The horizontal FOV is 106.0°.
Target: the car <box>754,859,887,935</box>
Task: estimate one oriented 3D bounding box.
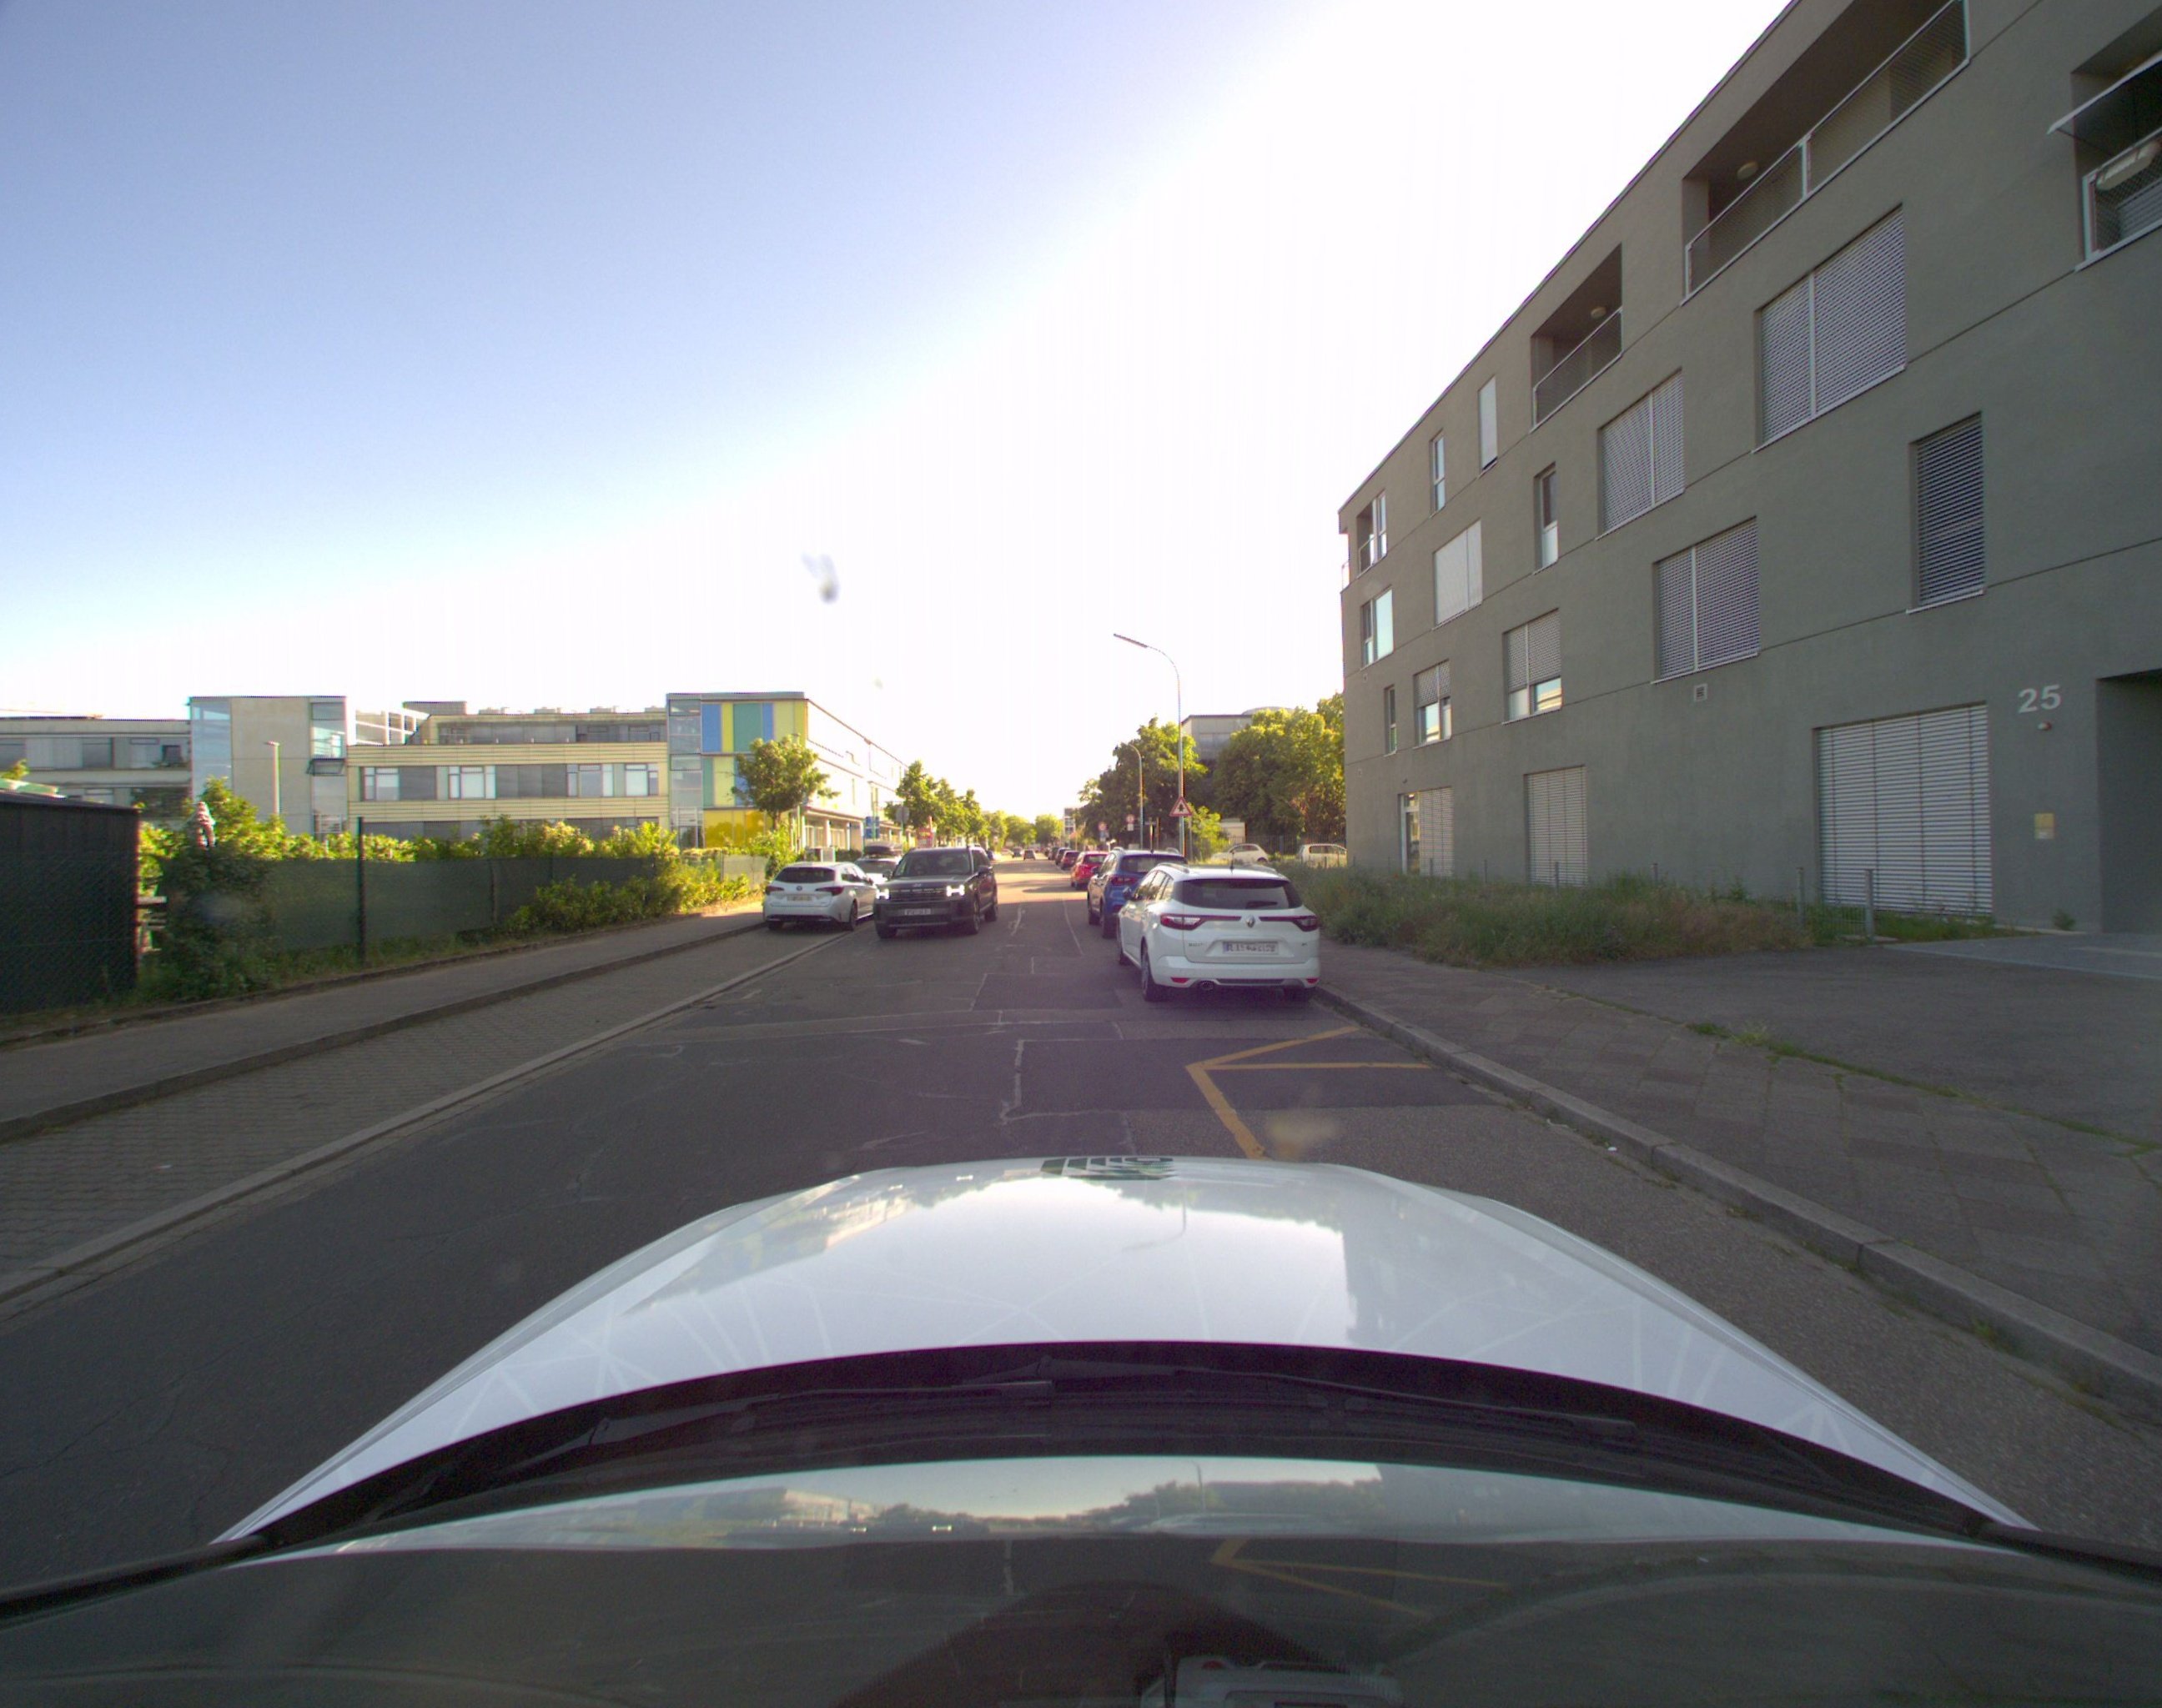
[{"bbox_3d":[-5.711,0.862,18.444,1.743,1.446,4.536,0,0,-3],"label":"car"}]

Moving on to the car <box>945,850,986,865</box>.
[{"bbox_3d":[-12.210,0.348,86.218,4.243,1.611,2.043,0,0,-8],"label":"car"}]

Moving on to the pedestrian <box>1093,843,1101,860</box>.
[{"bbox_3d":[1.704,-0.276,85.051,0.697,1.661,0.751,-3,0,-4],"label":"pedestrian"}]

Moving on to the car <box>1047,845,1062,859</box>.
[{"bbox_3d":[-3.861,-0.308,118.220,1.871,1.978,3.995,-2,1,-4],"label":"car"}]

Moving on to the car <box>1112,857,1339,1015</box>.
[{"bbox_3d":[1.444,0.774,9.893,1.741,1.429,4.581,0,0,-3],"label":"car"}]

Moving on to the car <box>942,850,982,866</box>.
[{"bbox_3d":[-12.115,0.404,83.267,3.984,1.607,1.867,0,0,-8],"label":"car"}]

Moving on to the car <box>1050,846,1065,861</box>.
[{"bbox_3d":[-3.079,-0.105,105.772,1.729,1.830,3.901,-1,0,-3],"label":"car"}]

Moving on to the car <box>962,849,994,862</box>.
[{"bbox_3d":[-13.801,0.190,108.933,4.210,1.603,1.867,0,0,-8],"label":"car"}]

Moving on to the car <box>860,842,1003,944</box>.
[{"bbox_3d":[-2.901,0.674,16.993,1.936,1.727,4.839,-3,0,1],"label":"car"}]

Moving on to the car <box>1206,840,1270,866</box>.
[{"bbox_3d":[9.472,-0.067,49.234,3.538,1.486,1.599,-2,0,-3],"label":"car"}]

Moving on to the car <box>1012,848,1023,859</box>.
[{"bbox_3d":[-11.500,-0.078,146.891,1.951,1.867,5.247,-1,0,-4],"label":"car"}]

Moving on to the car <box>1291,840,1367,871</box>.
[{"bbox_3d":[12.499,0.084,41.225,3.314,1.458,1.715,-2,0,1],"label":"car"}]

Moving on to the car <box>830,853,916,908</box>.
[{"bbox_3d":[-6.208,0.734,24.827,1.692,1.513,4.511,1,0,-4],"label":"car"}]

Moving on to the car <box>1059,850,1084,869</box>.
[{"bbox_3d":[-0.760,0.398,64.886,1.716,1.454,4.645,0,0,-4],"label":"car"}]

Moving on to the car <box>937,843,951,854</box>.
[{"bbox_3d":[-24.775,-0.970,146.989,1.989,2.014,3.994,-1,-1,-4],"label":"car"}]

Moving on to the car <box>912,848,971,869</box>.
[{"bbox_3d":[-11.611,0.388,68.000,4.597,1.651,1.867,-1,0,-1],"label":"car"}]

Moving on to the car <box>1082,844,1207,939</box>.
[{"bbox_3d":[1.090,0.626,16.199,1.813,1.599,4.620,0,0,-4],"label":"car"}]

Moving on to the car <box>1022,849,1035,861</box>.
[{"bbox_3d":[-7.286,0.135,114.008,1.740,1.543,3.995,-1,0,-3],"label":"car"}]

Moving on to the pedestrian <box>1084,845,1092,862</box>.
[{"bbox_3d":[0.703,-0.066,84.814,0.716,1.758,0.884,-4,1,-3],"label":"pedestrian"}]

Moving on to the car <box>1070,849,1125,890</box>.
[{"bbox_3d":[0.577,0.572,32.491,1.815,1.499,4.446,0,0,-4],"label":"car"}]

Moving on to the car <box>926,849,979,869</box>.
[{"bbox_3d":[-12.005,0.478,76.403,4.732,1.865,1.825,0,0,-4],"label":"car"}]

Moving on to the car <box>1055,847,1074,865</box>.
[{"bbox_3d":[-1.630,0.154,80.884,1.807,1.666,4.588,0,1,-2],"label":"car"}]

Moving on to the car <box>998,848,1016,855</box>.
[{"bbox_3d":[-17.485,-0.478,192.399,3.978,1.519,1.997,-1,-1,-4],"label":"car"}]

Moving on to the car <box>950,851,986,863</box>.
[{"bbox_3d":[-12.759,0.329,92.027,3.984,1.358,1.739,0,0,-8],"label":"car"}]
